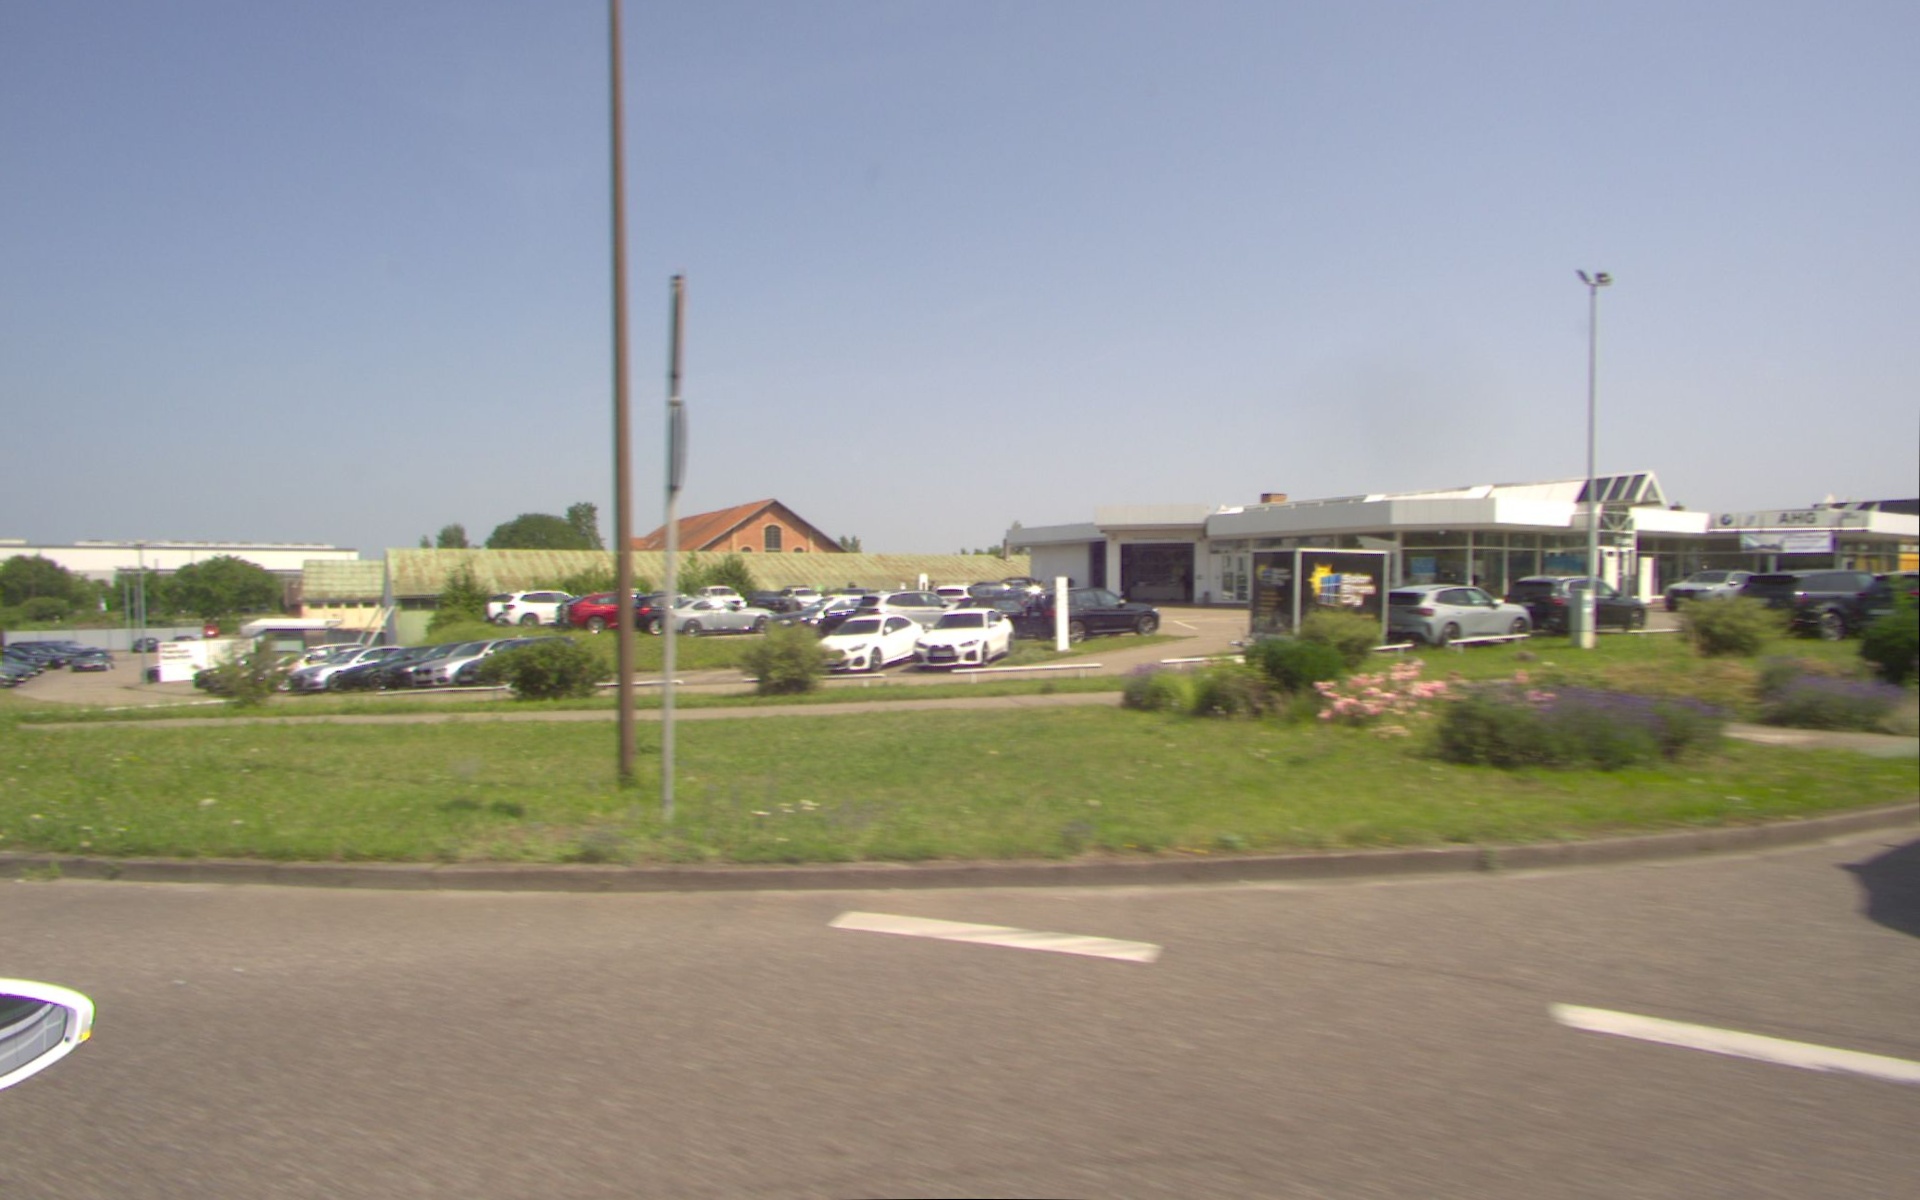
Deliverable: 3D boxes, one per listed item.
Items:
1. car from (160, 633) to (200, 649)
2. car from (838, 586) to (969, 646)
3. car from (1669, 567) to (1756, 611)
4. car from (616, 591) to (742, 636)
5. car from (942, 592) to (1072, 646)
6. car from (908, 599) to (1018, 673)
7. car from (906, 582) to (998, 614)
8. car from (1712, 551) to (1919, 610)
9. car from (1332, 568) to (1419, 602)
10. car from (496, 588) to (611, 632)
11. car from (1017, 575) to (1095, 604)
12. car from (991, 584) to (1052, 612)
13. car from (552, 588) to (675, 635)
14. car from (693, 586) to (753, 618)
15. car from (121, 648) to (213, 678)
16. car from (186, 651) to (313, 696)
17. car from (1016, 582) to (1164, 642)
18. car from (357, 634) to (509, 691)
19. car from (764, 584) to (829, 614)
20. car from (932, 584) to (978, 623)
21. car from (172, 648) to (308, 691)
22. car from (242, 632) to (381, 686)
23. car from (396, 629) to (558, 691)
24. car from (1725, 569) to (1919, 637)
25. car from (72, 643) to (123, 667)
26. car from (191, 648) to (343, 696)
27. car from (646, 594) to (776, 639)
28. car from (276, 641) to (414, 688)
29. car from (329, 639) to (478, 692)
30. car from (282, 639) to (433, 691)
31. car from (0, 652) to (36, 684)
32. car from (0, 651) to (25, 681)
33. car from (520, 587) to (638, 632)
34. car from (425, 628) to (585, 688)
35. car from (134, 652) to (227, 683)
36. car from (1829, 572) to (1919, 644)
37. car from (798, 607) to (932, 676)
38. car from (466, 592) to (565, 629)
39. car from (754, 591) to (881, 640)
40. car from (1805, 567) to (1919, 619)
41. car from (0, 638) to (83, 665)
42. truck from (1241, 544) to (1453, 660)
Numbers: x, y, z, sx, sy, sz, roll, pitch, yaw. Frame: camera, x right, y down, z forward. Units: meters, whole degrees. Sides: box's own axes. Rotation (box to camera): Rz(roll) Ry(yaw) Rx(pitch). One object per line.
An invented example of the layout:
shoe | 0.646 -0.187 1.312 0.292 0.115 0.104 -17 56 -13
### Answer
car | -74.295 3.898 95.403 1.967 1.416 3.989 0 -1 -22
car | -1.892 0.497 33.848 3.955 1.774 1.936 -3 2 -34
car | 30.297 -0.407 40.291 3.646 1.676 1.573 0 -1 -31
car | -11.099 0.500 39.711 4.409 1.657 1.937 -2 1 -34
car | 1.603 0.572 33.371 3.955 1.521 1.936 -3 3 -34
car | 0.203 0.909 27.214 1.736 1.592 4.655 -1 3 16
car | -0.418 -0.102 51.925 4.402 1.543 1.939 -2 1 -30
car | 24.109 -0.543 28.326 4.290 1.533 1.909 -1 1 -2
car | 20.264 -0.745 48.839 3.981 1.607 1.900 -1 1 -29
car | -18.039 0.413 44.508 4.409 1.770 1.827 -2 1 -34
car | 4.533 -0.483 47.369 3.293 1.292 1.649 0 1 31
car | 2.618 -0.105 42.009 1.602 1.125 2.943 0 1 25
car | -14.200 0.420 41.143 4.409 1.770 1.937 -2 1 -34
car | -12.901 0.101 54.369 1.896 1.617 4.279 -2 1 -32
car | -46.253 3.661 58.477 3.910 1.543 1.744 -1 -1 -27
car | -30.507 3.131 43.092 1.973 1.572 3.977 -4 -1 33
car | 4.088 0.353 31.273 4.366 1.520 1.937 -4 2 -34
car | -18.087 2.114 34.566 1.894 1.502 4.242 -4 0 28
car | -9.387 -0.043 57.145 2.164 1.617 4.279 -2 1 -32
car | -0.187 0.106 43.381 1.626 1.607 4.266 -1 1 4
car | -32.185 3.082 44.864 2.118 1.661 4.471 -3 -2 33
car | -26.176 2.346 40.524 1.976 1.771 4.231 -4 0 37
car | -15.975 1.964 33.387 1.894 1.586 4.552 -4 0 28
car | 21.564 0.046 24.480 4.290 1.533 1.909 -1 1 -2
car | -59.477 3.764 69.091 2.114 1.476 4.504 0 -1 -34
car | -28.598 2.966 41.465 1.975 1.527 4.748 -4 0 37
car | -9.437 0.591 38.045 4.409 1.520 1.936 -2 1 -34
car | -24.206 2.522 39.543 1.851 1.484 4.231 -4 0 37
car | -19.883 2.320 35.940 1.899 1.431 4.231 -4 0 37
car | -22.304 2.382 37.259 1.895 1.484 4.414 -4 0 29
car | -50.087 3.477 50.999 4.096 1.543 1.688 0 -1 -14
car | -52.735 3.530 53.168 4.100 1.543 1.748 0 -1 -19
car | -16.278 0.394 42.834 4.409 1.770 1.827 -2 1 -34
car | -14.273 1.782 31.726 1.754 1.440 4.558 -4 0 23
car | -43.353 3.752 55.781 3.739 1.543 1.747 0 -1 -21
car | 22.338 0.123 22.336 4.290 1.533 1.909 -1 1 -2
car | -2.500 1.084 27.706 1.738 1.591 4.564 -2 1 22
car | -20.279 0.474 45.730 3.836 1.553 1.756 -2 1 -34
car | -4.947 0.497 34.897 3.948 1.547 1.940 -1 1 -28
car | 38.193 -0.233 41.652 1.971 2.040 4.240 0 -1 -30
car | -64.679 3.616 70.363 4.156 1.724 1.917 0 1 -11
truck | 9.888 -0.017 25.425 5.543 2.701 1.940 -2 2 -29
